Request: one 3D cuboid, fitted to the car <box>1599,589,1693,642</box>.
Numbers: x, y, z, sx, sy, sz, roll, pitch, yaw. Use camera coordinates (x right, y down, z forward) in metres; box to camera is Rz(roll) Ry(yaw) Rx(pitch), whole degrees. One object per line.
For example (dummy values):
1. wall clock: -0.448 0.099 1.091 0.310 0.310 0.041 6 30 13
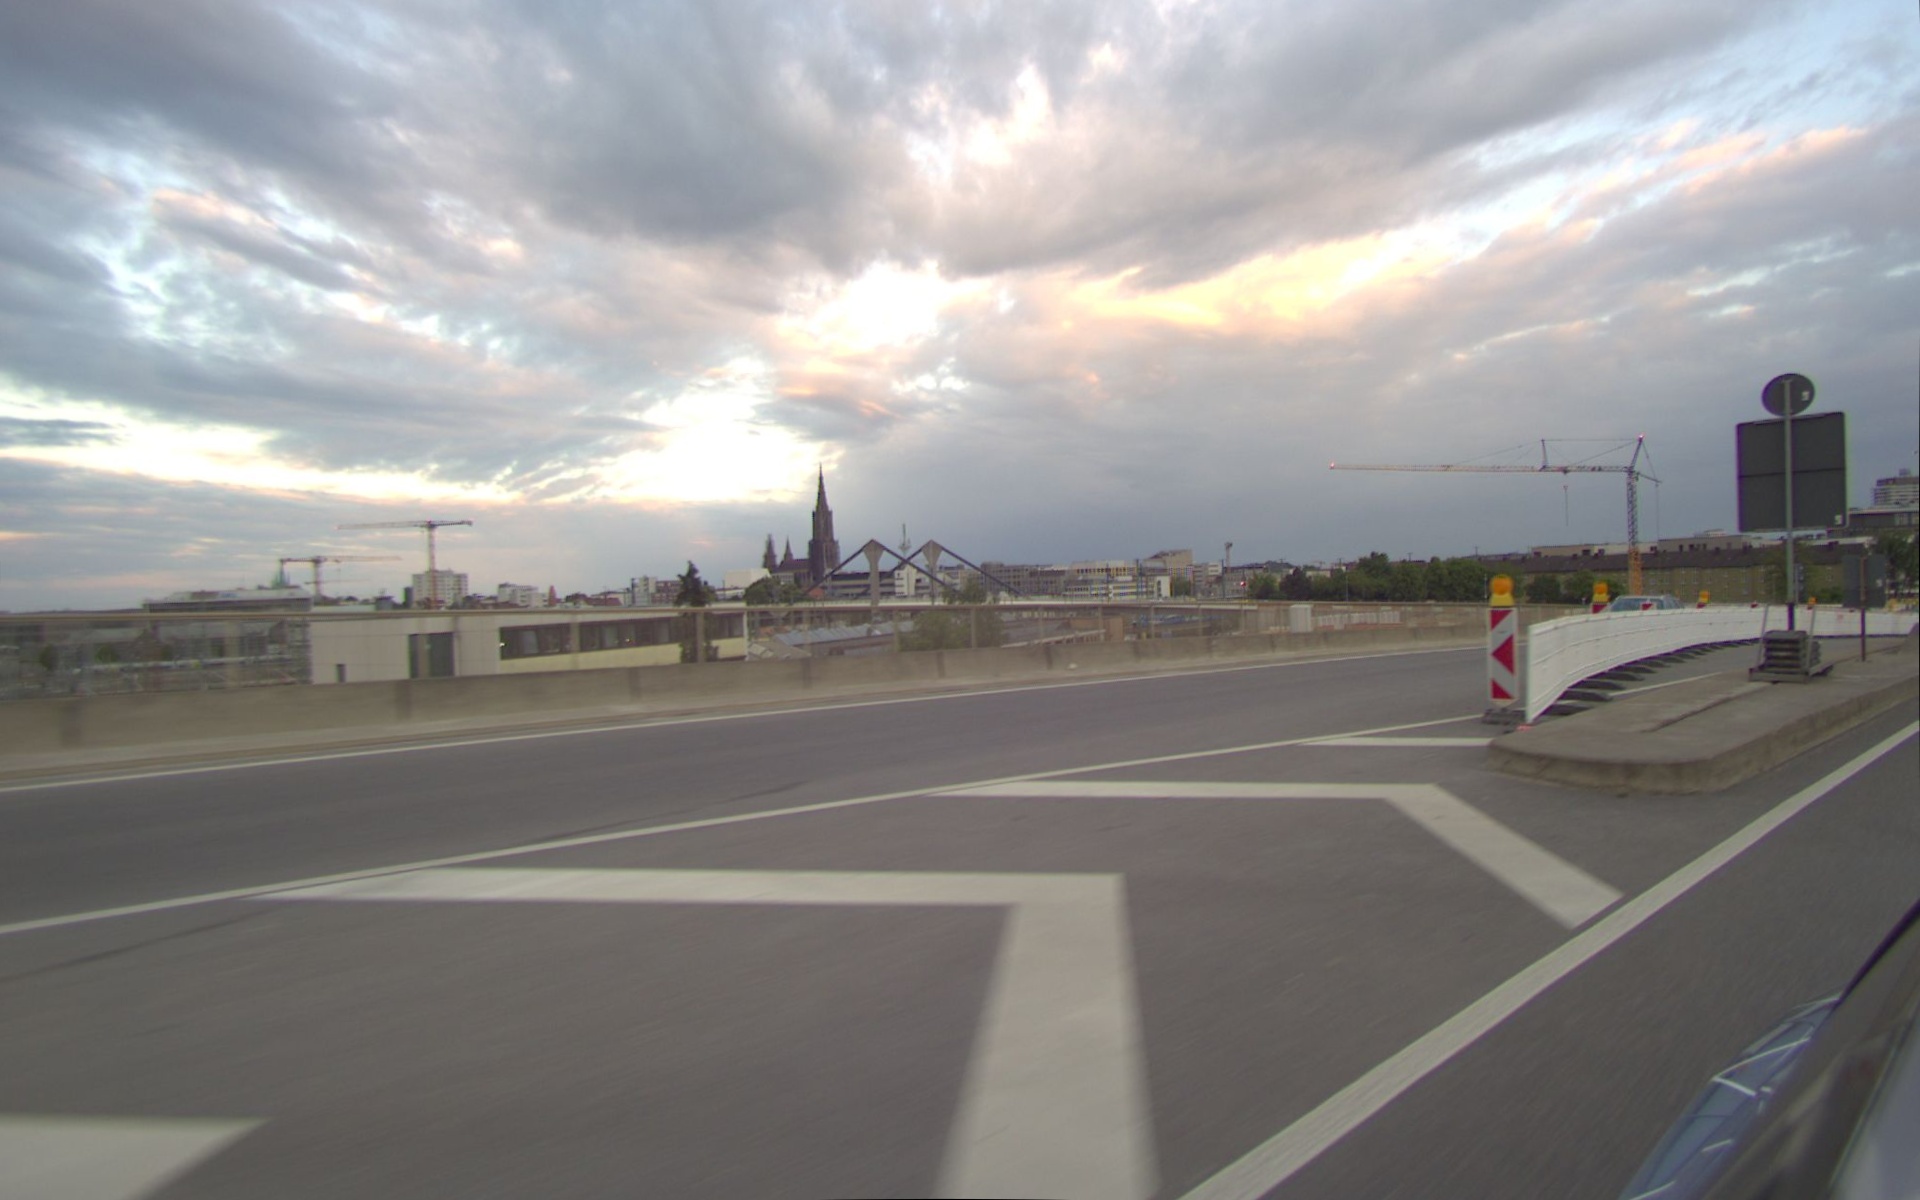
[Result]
1. car: 20.812 0.433 30.652 1.750 1.510 3.937 0 0 44
